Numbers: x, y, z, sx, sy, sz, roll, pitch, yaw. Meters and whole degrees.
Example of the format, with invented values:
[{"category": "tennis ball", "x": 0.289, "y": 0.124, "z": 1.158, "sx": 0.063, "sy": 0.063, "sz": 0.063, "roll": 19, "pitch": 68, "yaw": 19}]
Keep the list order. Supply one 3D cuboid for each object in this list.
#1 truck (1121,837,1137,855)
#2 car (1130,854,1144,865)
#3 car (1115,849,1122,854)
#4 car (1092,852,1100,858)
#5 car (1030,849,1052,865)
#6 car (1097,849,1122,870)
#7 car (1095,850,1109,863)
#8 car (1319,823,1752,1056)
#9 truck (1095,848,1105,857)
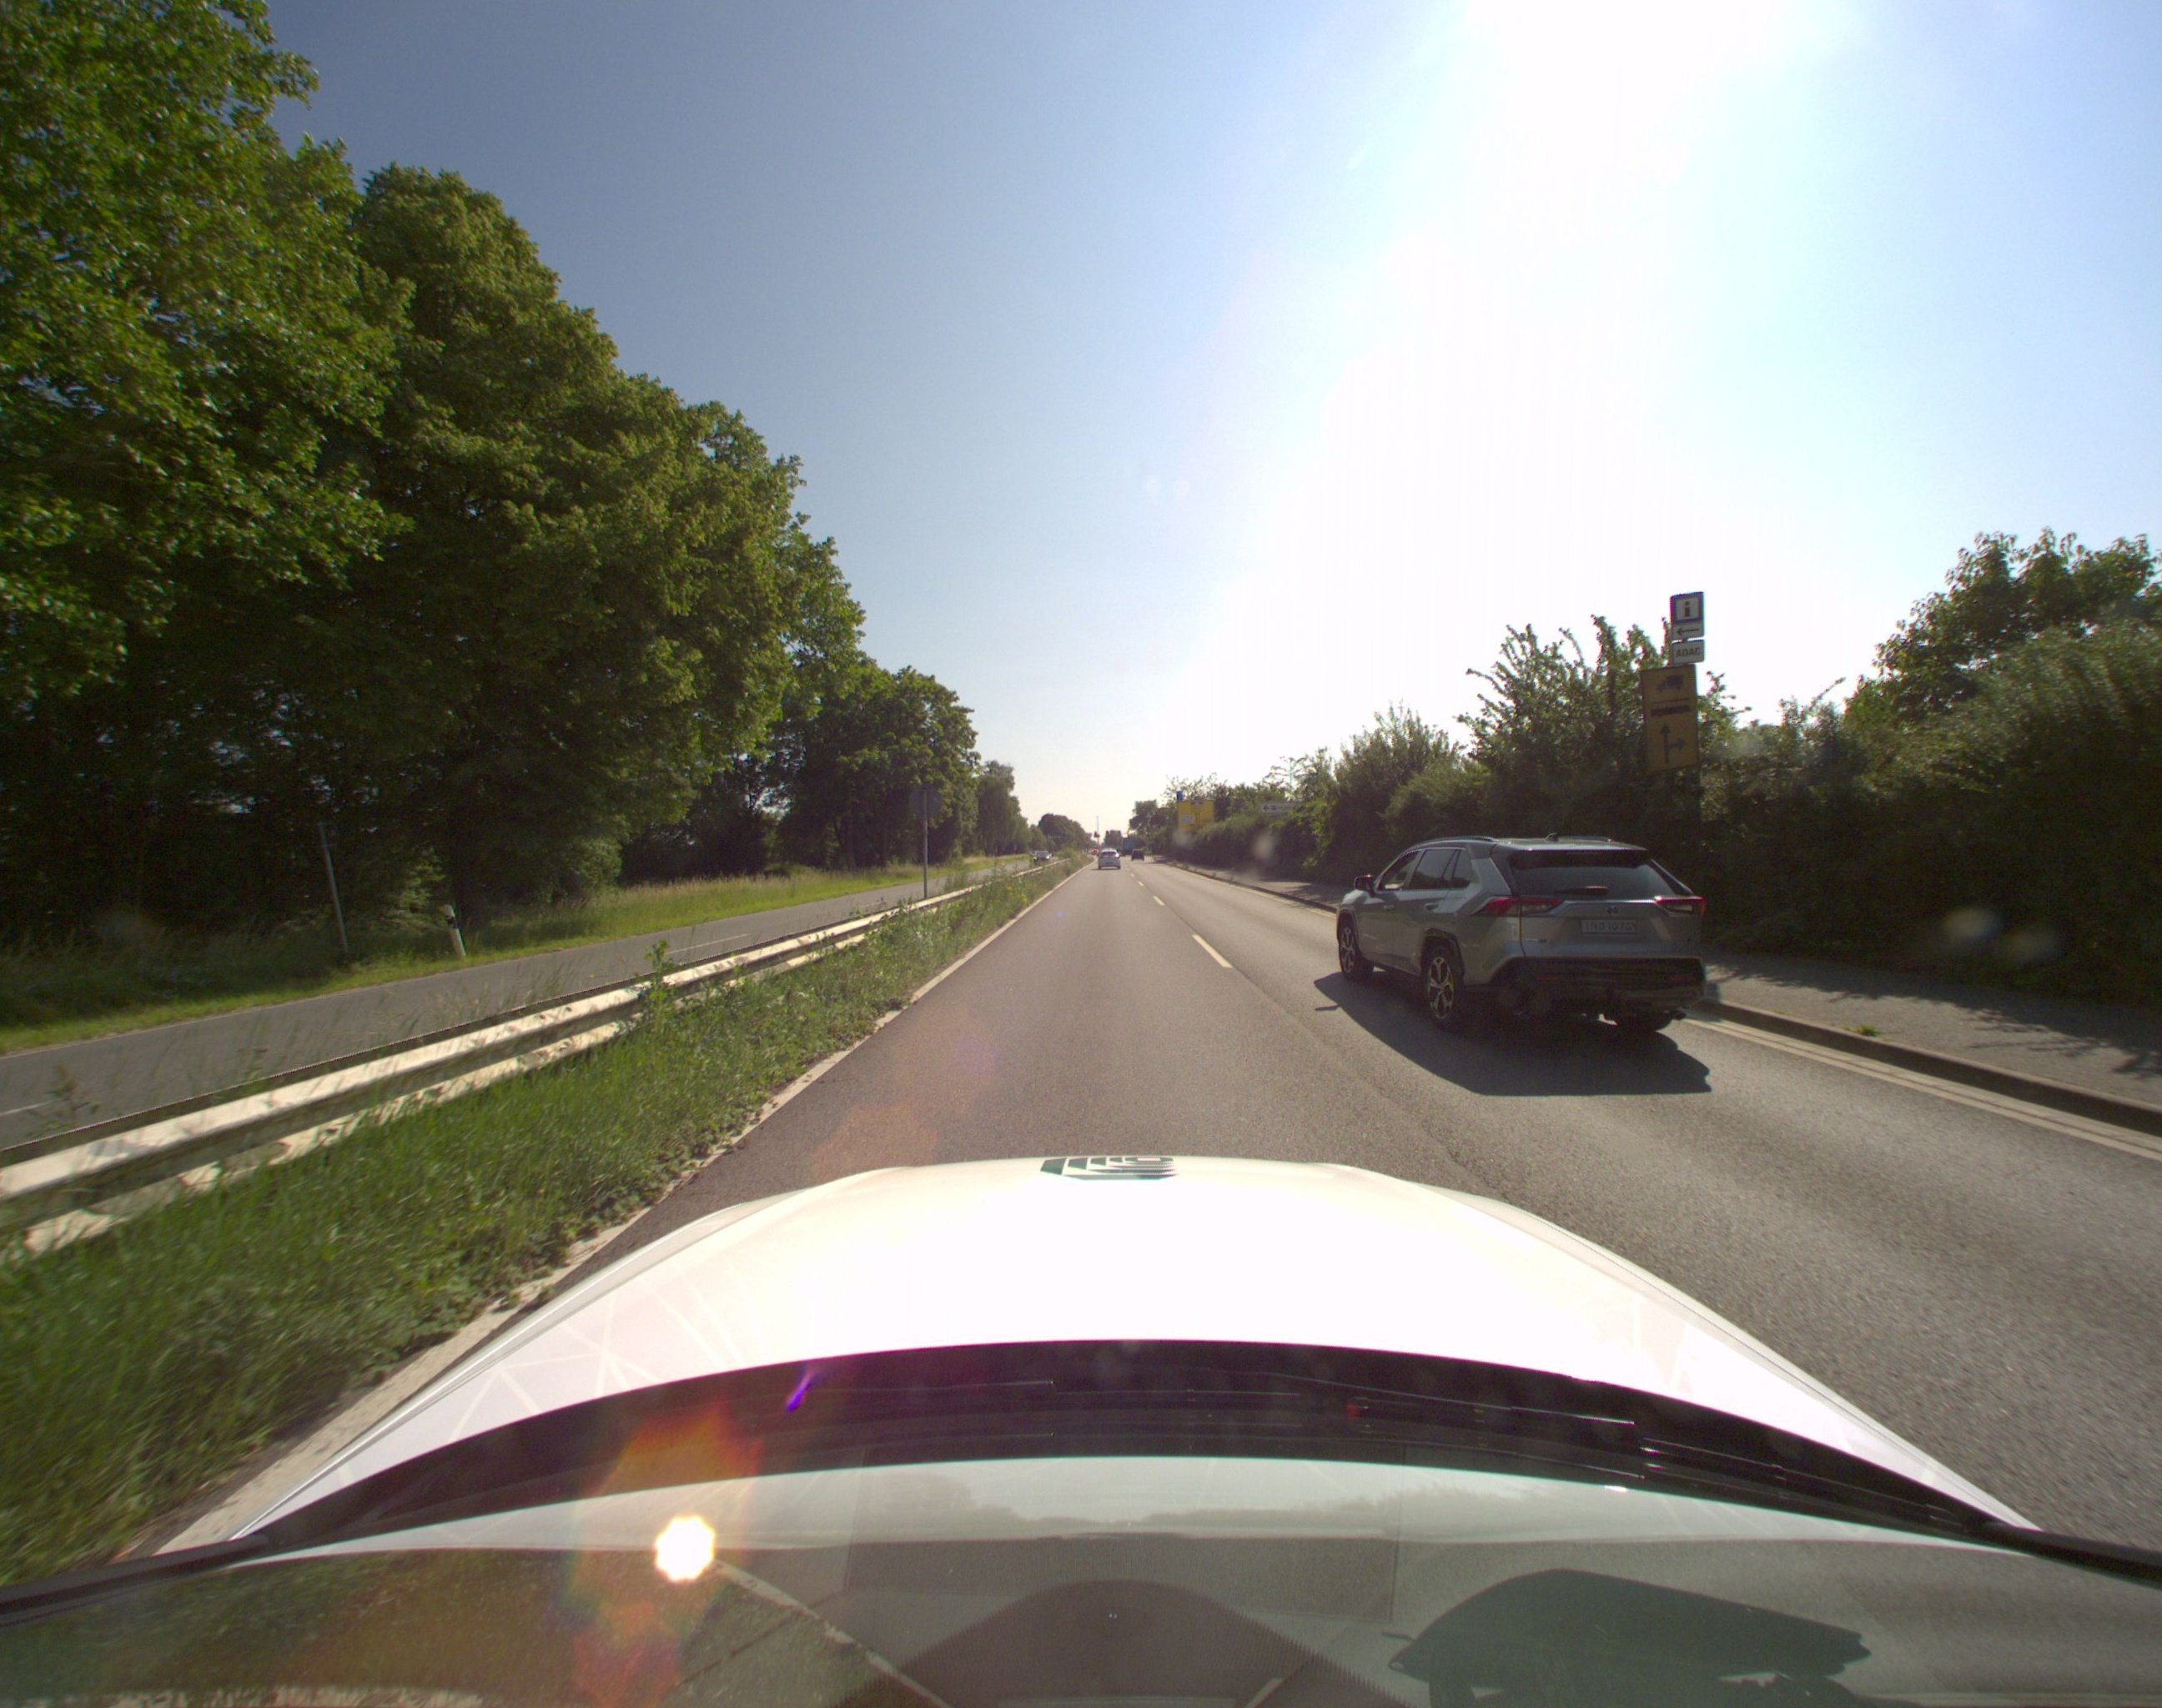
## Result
[{"category": "truck", "x": 9.653, "y": -1.666, "z": 163.452, "sx": 2.881, "sy": 3.428, "sz": 9.173, "roll": -2, "pitch": 0, "yaw": 2}, {"category": "car", "x": 7.079, "y": 0.677, "z": 103.031, "sx": 1.566, "sy": 1.414, "sz": 3.279, "roll": -1, "pitch": -1, "yaw": 2}, {"category": "car", "x": 11.558, "y": -0.706, "z": 250.021, "sx": 1.804, "sy": 1.464, "sz": 4.464, "roll": -2, "pitch": 0, "yaw": 4}, {"category": "car", "x": 4.022, "y": 0.182, "z": 215.845, "sx": 1.804, "sy": 1.464, "sz": 4.977, "roll": -2, "pitch": 0, "yaw": 4}, {"category": "car", "x": -4.304, "y": 0.307, "z": 87.730, "sx": 1.771, "sy": 1.530, "sz": 4.166, "roll": -3, "pitch": 0, "yaw": 4}, {"category": "car", "x": 2.213, "y": 0.376, "z": 62.106, "sx": 1.791, "sy": 1.552, "sz": 4.003, "roll": -1, "pitch": 1, "yaw": 2}, {"category": "car", "x": 2.465, "y": 0.292, "z": 95.723, "sx": 1.566, "sy": 1.414, "sz": 3.279, "roll": -1, "pitch": 0, "yaw": 2}, {"category": "car", "x": 3.970, "y": 0.604, "z": 8.234, "sx": 1.895, "sy": 1.680, "sz": 4.685, "roll": 0, "pitch": 0, "yaw": 2}, {"category": "truck", "x": 5.288, "y": -0.449, "z": 222.915, "sx": 2.363, "sy": 2.388, "sz": 6.049, "roll": -1, "pitch": 2, "yaw": 4}]
